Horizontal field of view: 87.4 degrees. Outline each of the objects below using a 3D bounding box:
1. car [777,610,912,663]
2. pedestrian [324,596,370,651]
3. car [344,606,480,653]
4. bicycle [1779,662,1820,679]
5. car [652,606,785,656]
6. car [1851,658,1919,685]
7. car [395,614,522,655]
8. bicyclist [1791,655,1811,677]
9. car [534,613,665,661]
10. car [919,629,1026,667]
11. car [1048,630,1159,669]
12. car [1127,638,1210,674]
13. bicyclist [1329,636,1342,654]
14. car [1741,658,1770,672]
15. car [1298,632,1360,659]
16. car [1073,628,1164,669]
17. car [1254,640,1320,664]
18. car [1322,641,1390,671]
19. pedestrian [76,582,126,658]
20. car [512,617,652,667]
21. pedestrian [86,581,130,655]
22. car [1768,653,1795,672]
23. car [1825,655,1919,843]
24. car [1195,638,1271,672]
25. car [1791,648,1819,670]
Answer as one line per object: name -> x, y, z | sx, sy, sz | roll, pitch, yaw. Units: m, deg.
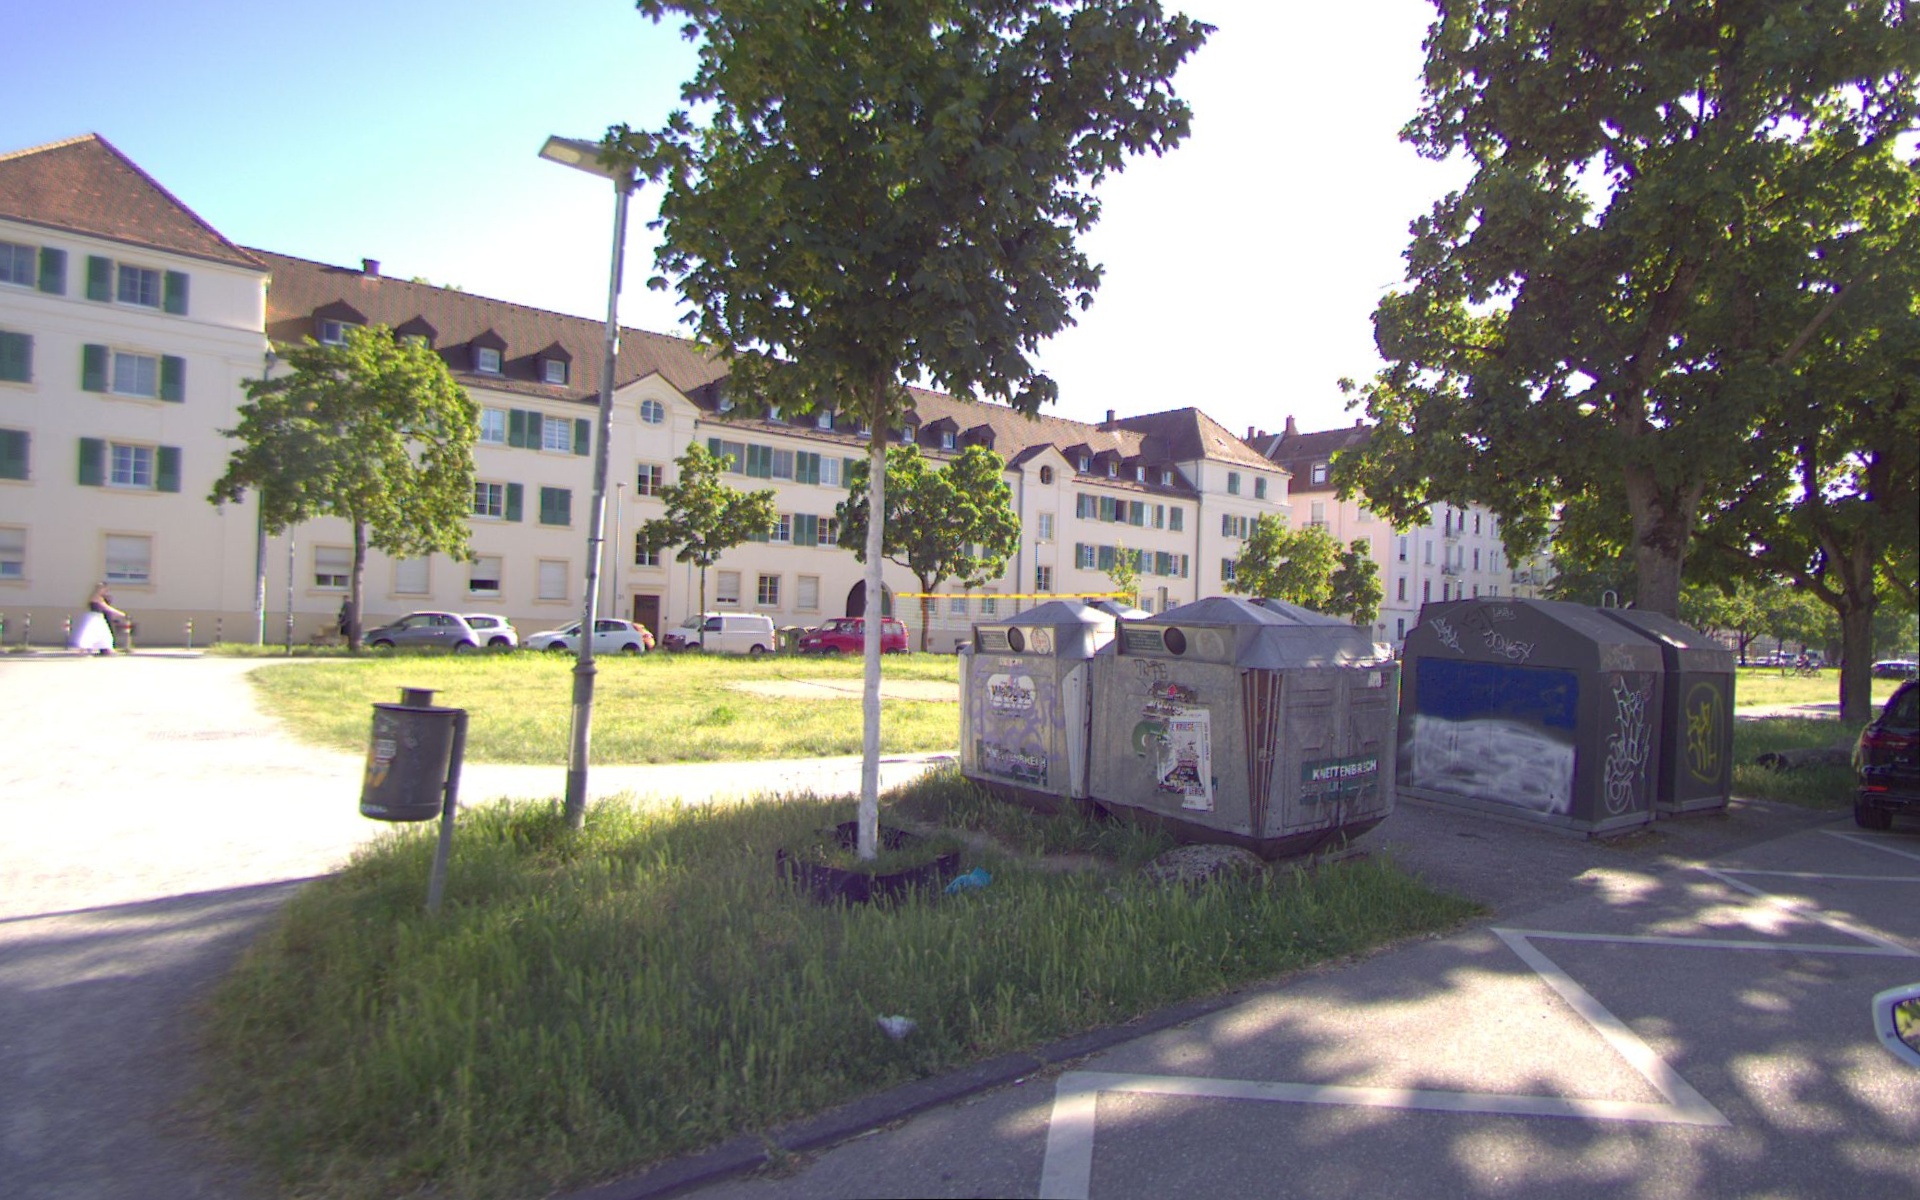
car -> -4.740, 1.533, 41.842 | 5.215, 2.010, 2.202 | 3, -2, -40
pedestrian -> -22.811, 0.878, 37.387 | 1.155, 1.989, 1.327 | 3, -2, -43
car -> -17.150, 0.930, 31.501 | 3.485, 1.350, 1.637 | 3, -2, -38
bicycle -> 56.281, 4.716, 67.354 | 1.945, 1.029, 0.658 | 2, -1, 28
car -> -10.521, 1.386, 44.024 | 5.215, 2.010, 2.202 | 3, -2, -40
car -> 58.171, 4.465, 62.099 | 4.269, 1.428, 1.917 | 1, 0, 29
car -> -18.694, 1.300, 37.511 | 3.965, 1.374, 1.755 | 3, -2, -38
bicyclist -> 56.309, 4.434, 67.227 | 0.861, 1.380, 0.623 | 0, -7, 26
car -> -14.585, 1.518, 40.782 | 4.607, 1.786, 1.977 | 3, -2, -40
car -> 0.684, 2.556, 53.069 | 5.208, 1.844, 2.433 | 3, -2, -36
car -> 7.356, 2.531, 51.249 | 5.402, 1.844, 2.433 | 3, -2, -36
car -> 11.298, 3.024, 54.325 | 3.971, 1.773, 2.301 | 3, -2, -36
bicyclist -> 28.635, 3.431, 76.583 | 0.778, 1.382, 0.528 | 3, -1, -37
car -> 94.829, 7.757, 119.760 | 3.740, 1.459, 1.832 | 3, -2, -37
car -> 31.369, 3.851, 85.441 | 2.123, 2.040, 4.523 | 3, -2, -40
car -> 9.534, 2.921, 60.145 | 5.214, 2.245, 2.510 | 3, -2, -39
car -> 22.919, 3.647, 70.287 | 4.915, 1.504, 1.978 | 3, -3, -38
car -> 25.918, 3.685, 65.717 | 4.666, 1.844, 2.140 | 3, -2, -39
pedestrian -> -19.720, 0.463, 23.070 | 0.742, 1.707, 0.540 | 3, -1, -35
car -> -13.068, 1.485, 34.857 | 4.199, 1.604, 1.775 | 3, -2, -39
pedestrian -> -20.061, 0.436, 23.660 | 0.666, 1.707, 0.540 | 3, -1, -32
car -> 102.966, 7.868, 125.893 | 4.968, 2.243, 1.680 | 4, -2, -40
car -> 9.765, 1.312, 9.333 | 4.928, 1.471, 1.820 | 3, -2, -40
car -> 15.730, 3.161, 57.801 | 4.223, 1.844, 2.217 | 3, -2, -40
car -> 112.549, 7.857, 133.705 | 5.580, 2.780, 1.899 | 3, -2, -40
